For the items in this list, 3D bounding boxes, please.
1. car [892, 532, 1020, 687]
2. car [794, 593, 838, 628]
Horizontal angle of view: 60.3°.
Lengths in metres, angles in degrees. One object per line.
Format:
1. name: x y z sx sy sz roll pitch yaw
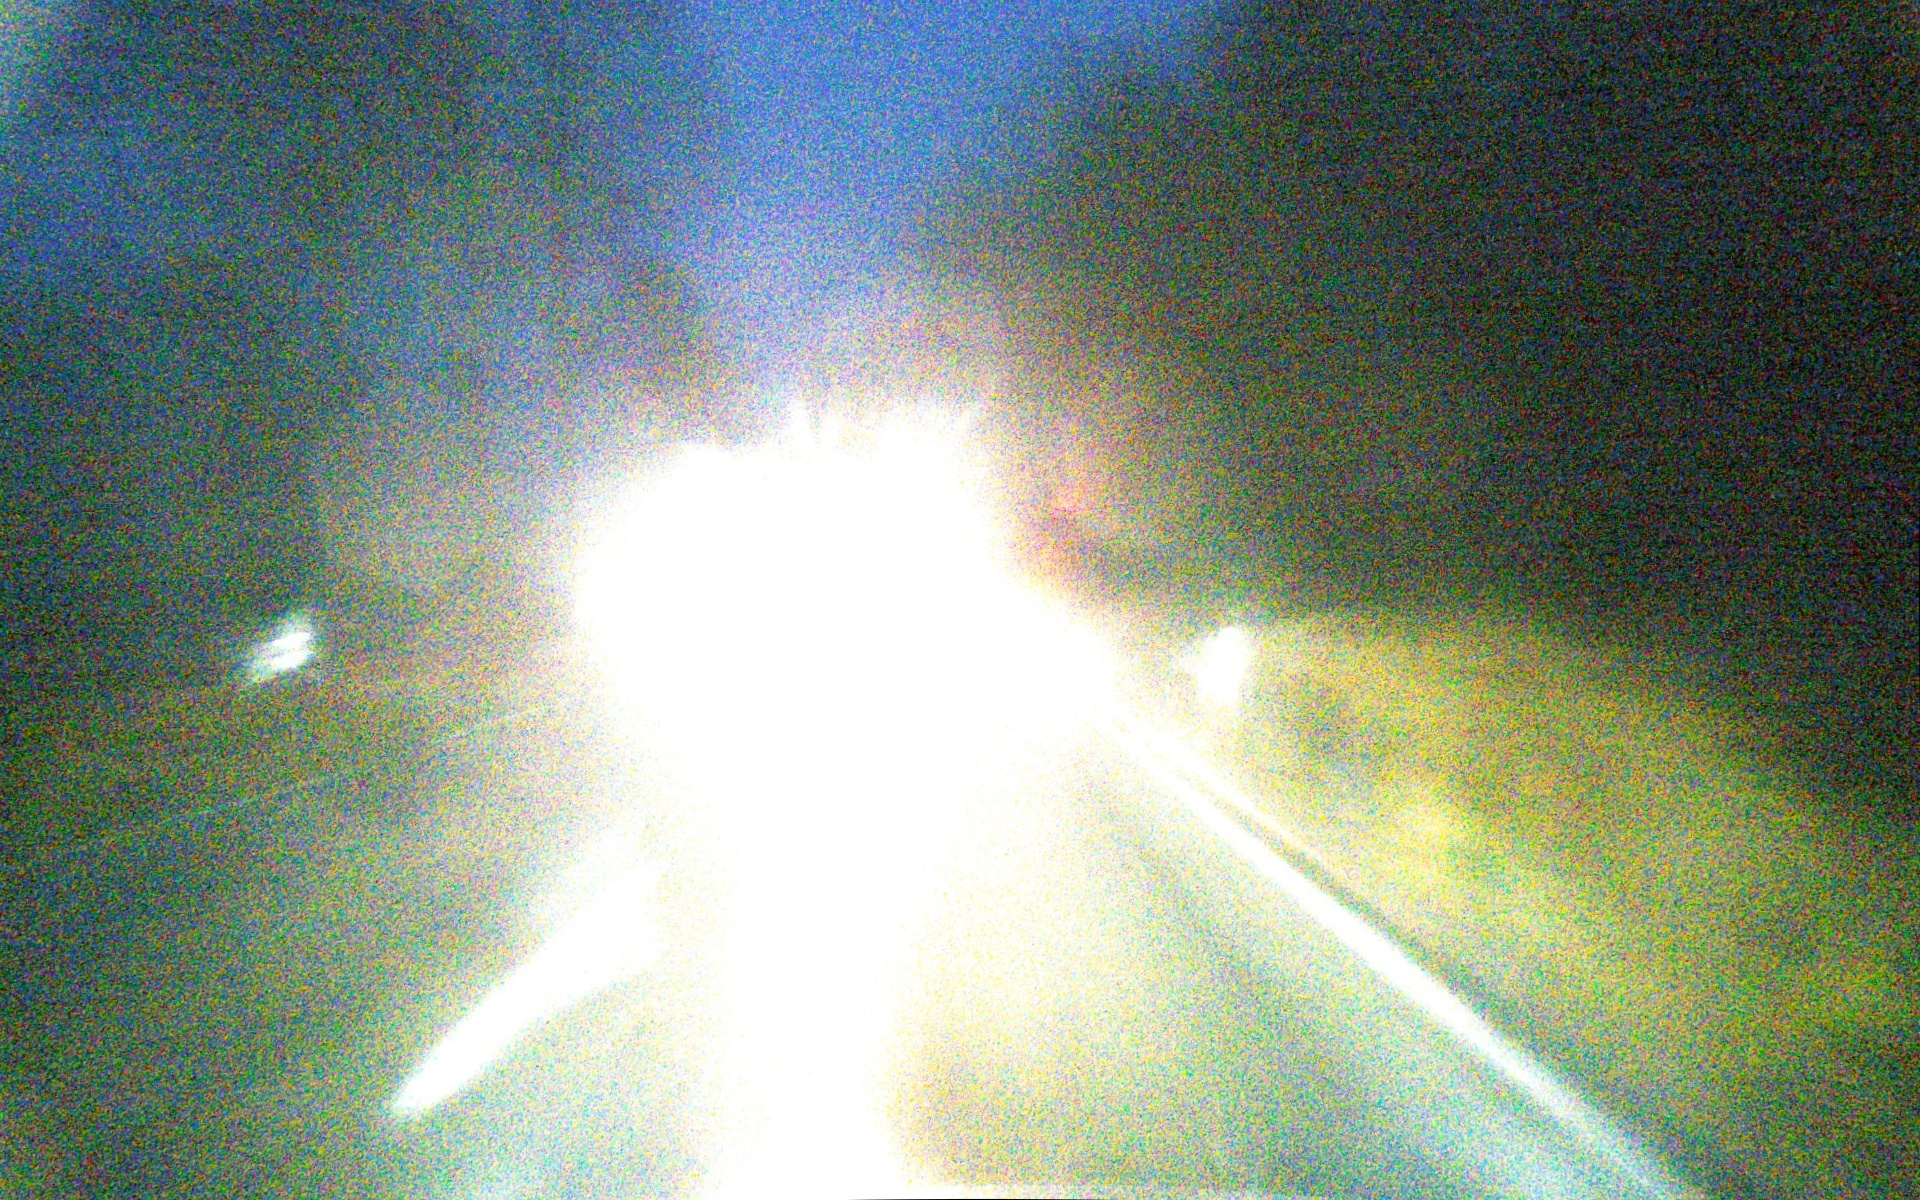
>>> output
1. car: -0.098 0.165 30.454 2.136 2.602 4.507 1 0 -1
2. car: -6.515 0.435 74.904 1.814 1.515 3.991 0 0 -3
